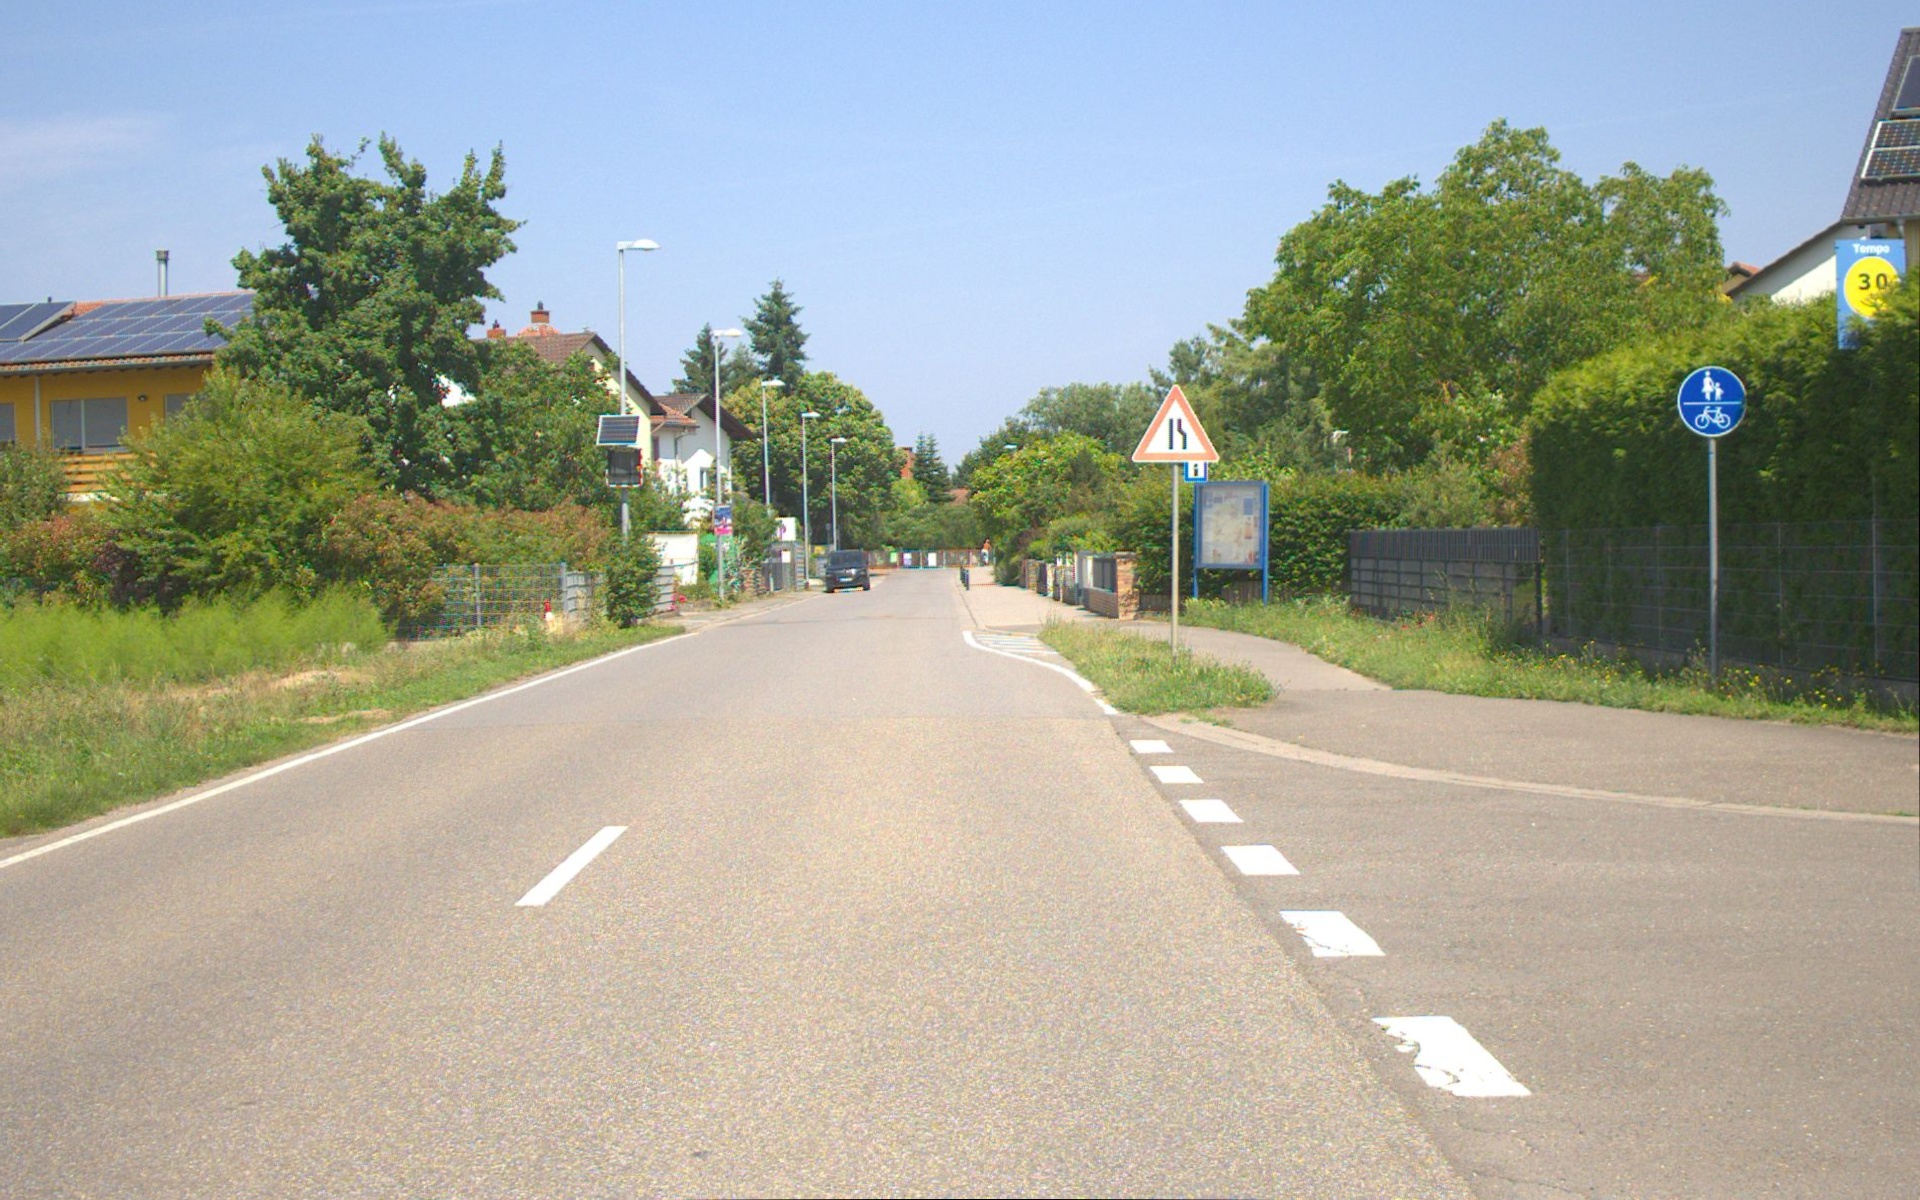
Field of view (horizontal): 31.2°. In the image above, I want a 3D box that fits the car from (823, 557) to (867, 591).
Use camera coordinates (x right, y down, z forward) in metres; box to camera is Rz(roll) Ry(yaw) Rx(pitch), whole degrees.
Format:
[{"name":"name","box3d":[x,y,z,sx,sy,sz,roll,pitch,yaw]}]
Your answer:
[{"name":"car","box3d":[-4.915,-1.135,147.230,1.759,1.380,3.453,-2,1,-1]}]
